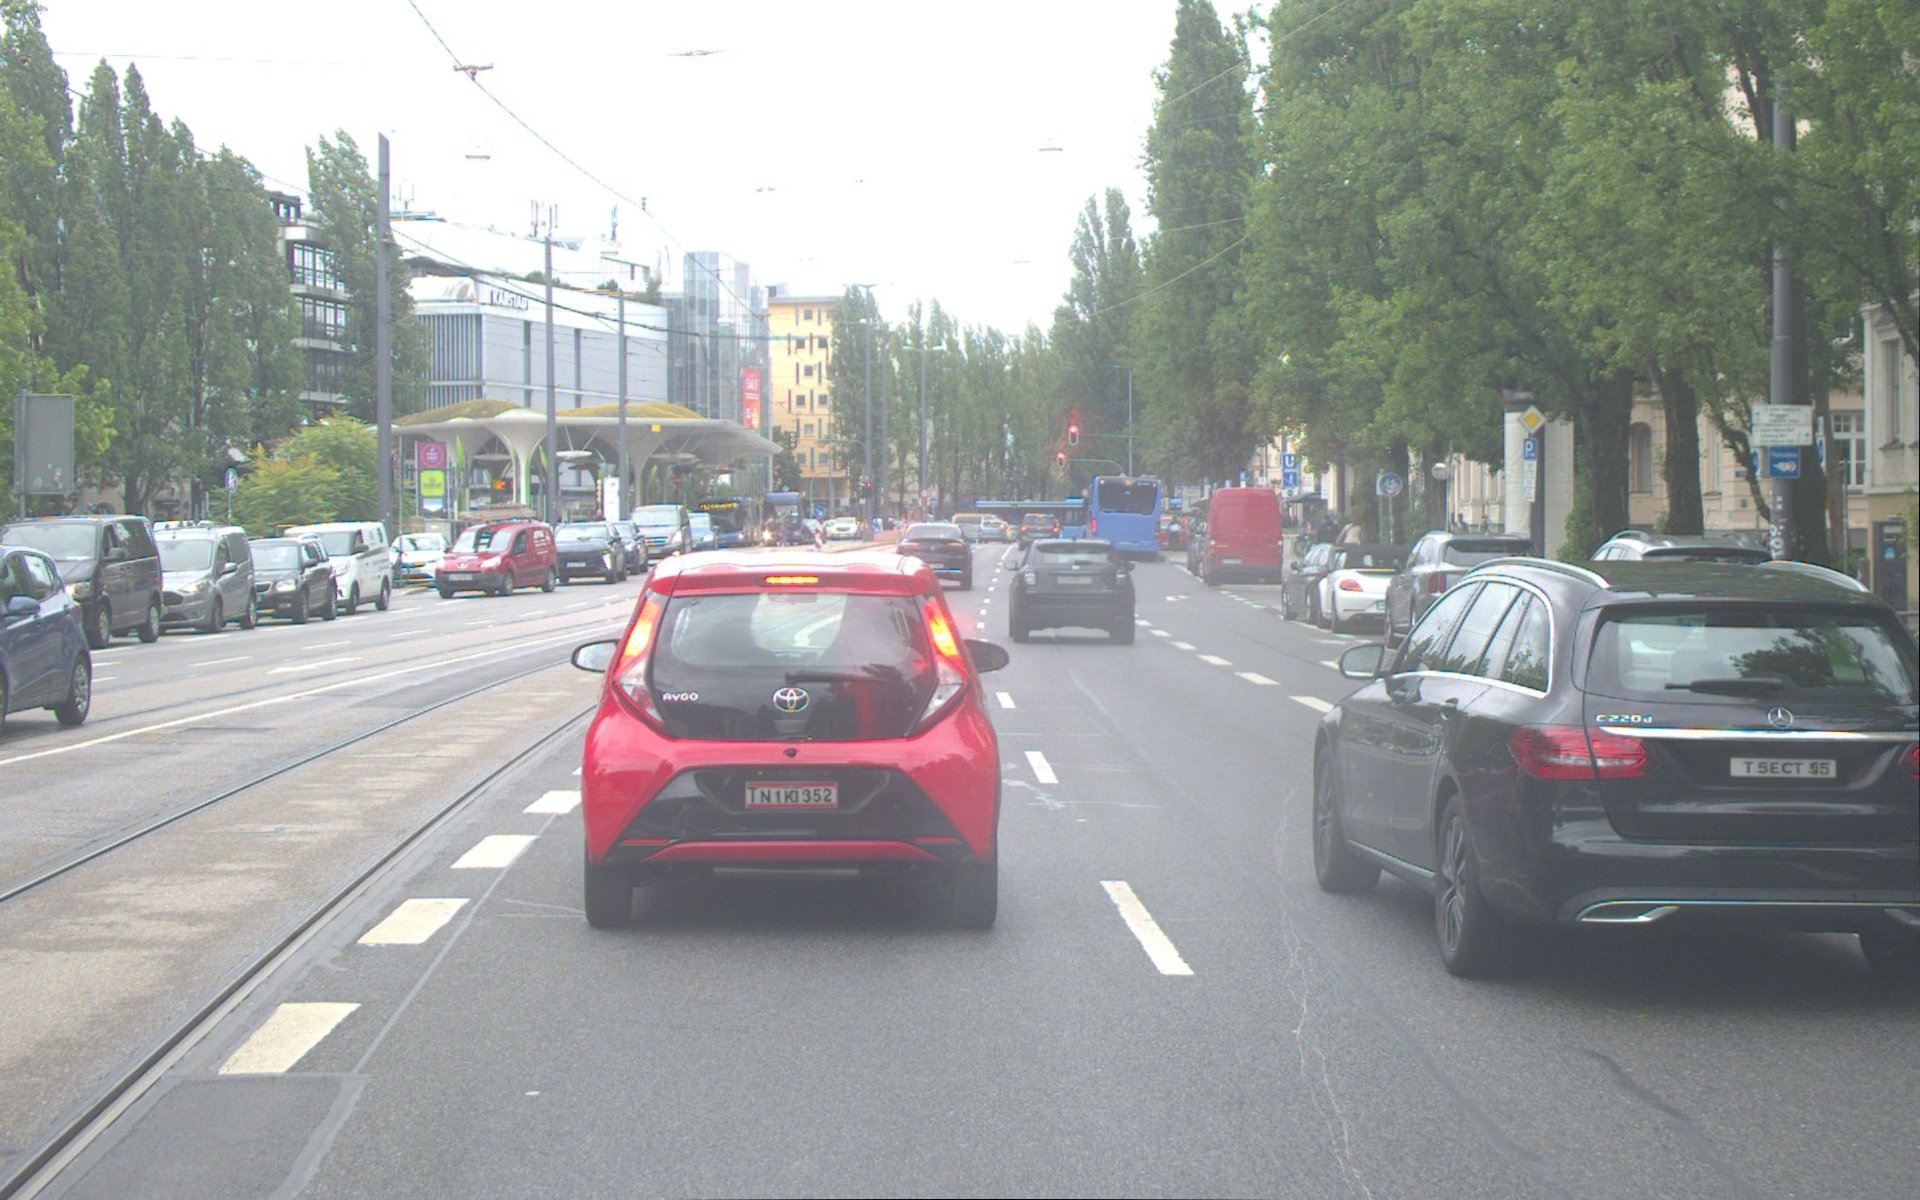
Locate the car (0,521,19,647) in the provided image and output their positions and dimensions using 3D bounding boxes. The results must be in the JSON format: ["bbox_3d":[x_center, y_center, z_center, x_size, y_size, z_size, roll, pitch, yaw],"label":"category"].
[{"bbox_3d":[-13.321,-0.166,42.990,1.799,1.629,4.589,-1,1,0],"label":"car"}]

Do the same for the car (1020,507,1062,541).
[{"bbox_3d":[3.538,-3.341,151.077,1.781,1.481,4.000,0,1,0],"label":"car"}]

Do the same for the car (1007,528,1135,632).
[{"bbox_3d":[1.607,-0.324,50.960,1.781,1.481,4.000,0,1,0],"label":"car"}]

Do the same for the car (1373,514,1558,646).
[{"bbox_3d":[6.956,-0.321,47.708,1.799,1.736,4.701,0,1,-1],"label":"car"}]

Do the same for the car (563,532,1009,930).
[{"bbox_3d":[-0.708,0.455,14.432,1.628,1.435,3.377,1,1,-2],"label":"car"}]

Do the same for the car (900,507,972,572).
[{"bbox_3d":[-0.570,-1.527,85.697,1.736,1.544,4.577,0,2,0],"label":"car"}]

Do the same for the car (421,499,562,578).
[{"bbox_3d":[-11.283,-1.503,83.134,1.800,1.782,4.516,-2,1,14],"label":"car"}]

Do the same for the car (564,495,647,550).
[{"bbox_3d":[-10.358,-2.276,100.824,1.799,1.525,4.519,-2,1,2],"label":"car"}]

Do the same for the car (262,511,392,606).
[{"bbox_3d":[-13.193,-0.885,71.936,1.799,1.855,4.631,-2,1,0],"label":"car"}]

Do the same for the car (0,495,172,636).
[{"bbox_3d":[-13.206,-0.542,51.040,1.799,1.984,5.039,-1,1,0],"label":"car"}]

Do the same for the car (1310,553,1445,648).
[{"bbox_3d":[6.981,-0.019,57.816,1.799,1.503,4.000,0,1,0],"label":"car"}]

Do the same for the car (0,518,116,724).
[{"bbox_3d":[-7.988,0.150,26.586,1.799,1.517,4.355,-1,1,0],"label":"car"}]

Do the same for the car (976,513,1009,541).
[{"bbox_3d":[2.038,-4.547,214.712,1.804,1.590,3.999,1,-1,4],"label":"car"}]

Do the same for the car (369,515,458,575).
[{"bbox_3d":[-14.809,-1.496,93.341,1.799,1.525,4.519,-2,1,-2],"label":"car"}]

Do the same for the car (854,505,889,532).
[{"bbox_3d":[-4.817,-4.446,187.376,1.781,1.481,4.000,0,1,0],"label":"car"}]

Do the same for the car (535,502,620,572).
[{"bbox_3d":[-10.217,-1.699,92.109,1.799,1.782,4.519,-2,1,-1],"label":"car"}]

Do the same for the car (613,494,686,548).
[{"bbox_3d":[-10.005,-2.552,111.057,1.799,1.659,4.519,-2,1,1],"label":"car"}]

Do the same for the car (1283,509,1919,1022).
[{"bbox_3d":[2.439,0.461,13.181,1.863,1.543,4.704,-1,2,-1],"label":"car"}]

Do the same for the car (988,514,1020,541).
[{"bbox_3d":[2.845,-4.670,221.704,1.804,1.590,3.999,1,-1,4],"label":"car"}]

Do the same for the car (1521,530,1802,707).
[{"bbox_3d":[6.899,0.125,34.246,1.799,1.606,4.547,0,1,-1],"label":"car"}]

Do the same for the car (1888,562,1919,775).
[{"bbox_3d":[7.258,0.487,21.244,1.799,1.393,4.382,0,1,-1],"label":"car"}]

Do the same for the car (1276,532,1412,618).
[{"bbox_3d":[6.998,-0.484,63.086,1.799,1.503,4.451,0,1,-3],"label":"car"}]

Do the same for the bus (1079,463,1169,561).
[{"bbox_3d":[6.131,-3.404,130.104,2.906,3.384,10.807,0,3,0],"label":"bus"}]

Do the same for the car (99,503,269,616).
[{"bbox_3d":[-13.195,-0.714,58.698,1.799,1.782,4.519,-2,1,0],"label":"car"}]

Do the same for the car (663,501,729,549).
[{"bbox_3d":[-9.603,-2.738,125.354,1.799,1.659,4.519,-2,1,3],"label":"car"}]

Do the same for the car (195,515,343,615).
[{"bbox_3d":[-13.064,-0.693,65.254,1.799,1.782,4.519,-2,1,0],"label":"car"}]

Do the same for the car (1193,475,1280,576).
[{"bbox_3d":[7.427,-2.047,92.766,1.993,2.565,4.680,0,3,0],"label":"car"}]
